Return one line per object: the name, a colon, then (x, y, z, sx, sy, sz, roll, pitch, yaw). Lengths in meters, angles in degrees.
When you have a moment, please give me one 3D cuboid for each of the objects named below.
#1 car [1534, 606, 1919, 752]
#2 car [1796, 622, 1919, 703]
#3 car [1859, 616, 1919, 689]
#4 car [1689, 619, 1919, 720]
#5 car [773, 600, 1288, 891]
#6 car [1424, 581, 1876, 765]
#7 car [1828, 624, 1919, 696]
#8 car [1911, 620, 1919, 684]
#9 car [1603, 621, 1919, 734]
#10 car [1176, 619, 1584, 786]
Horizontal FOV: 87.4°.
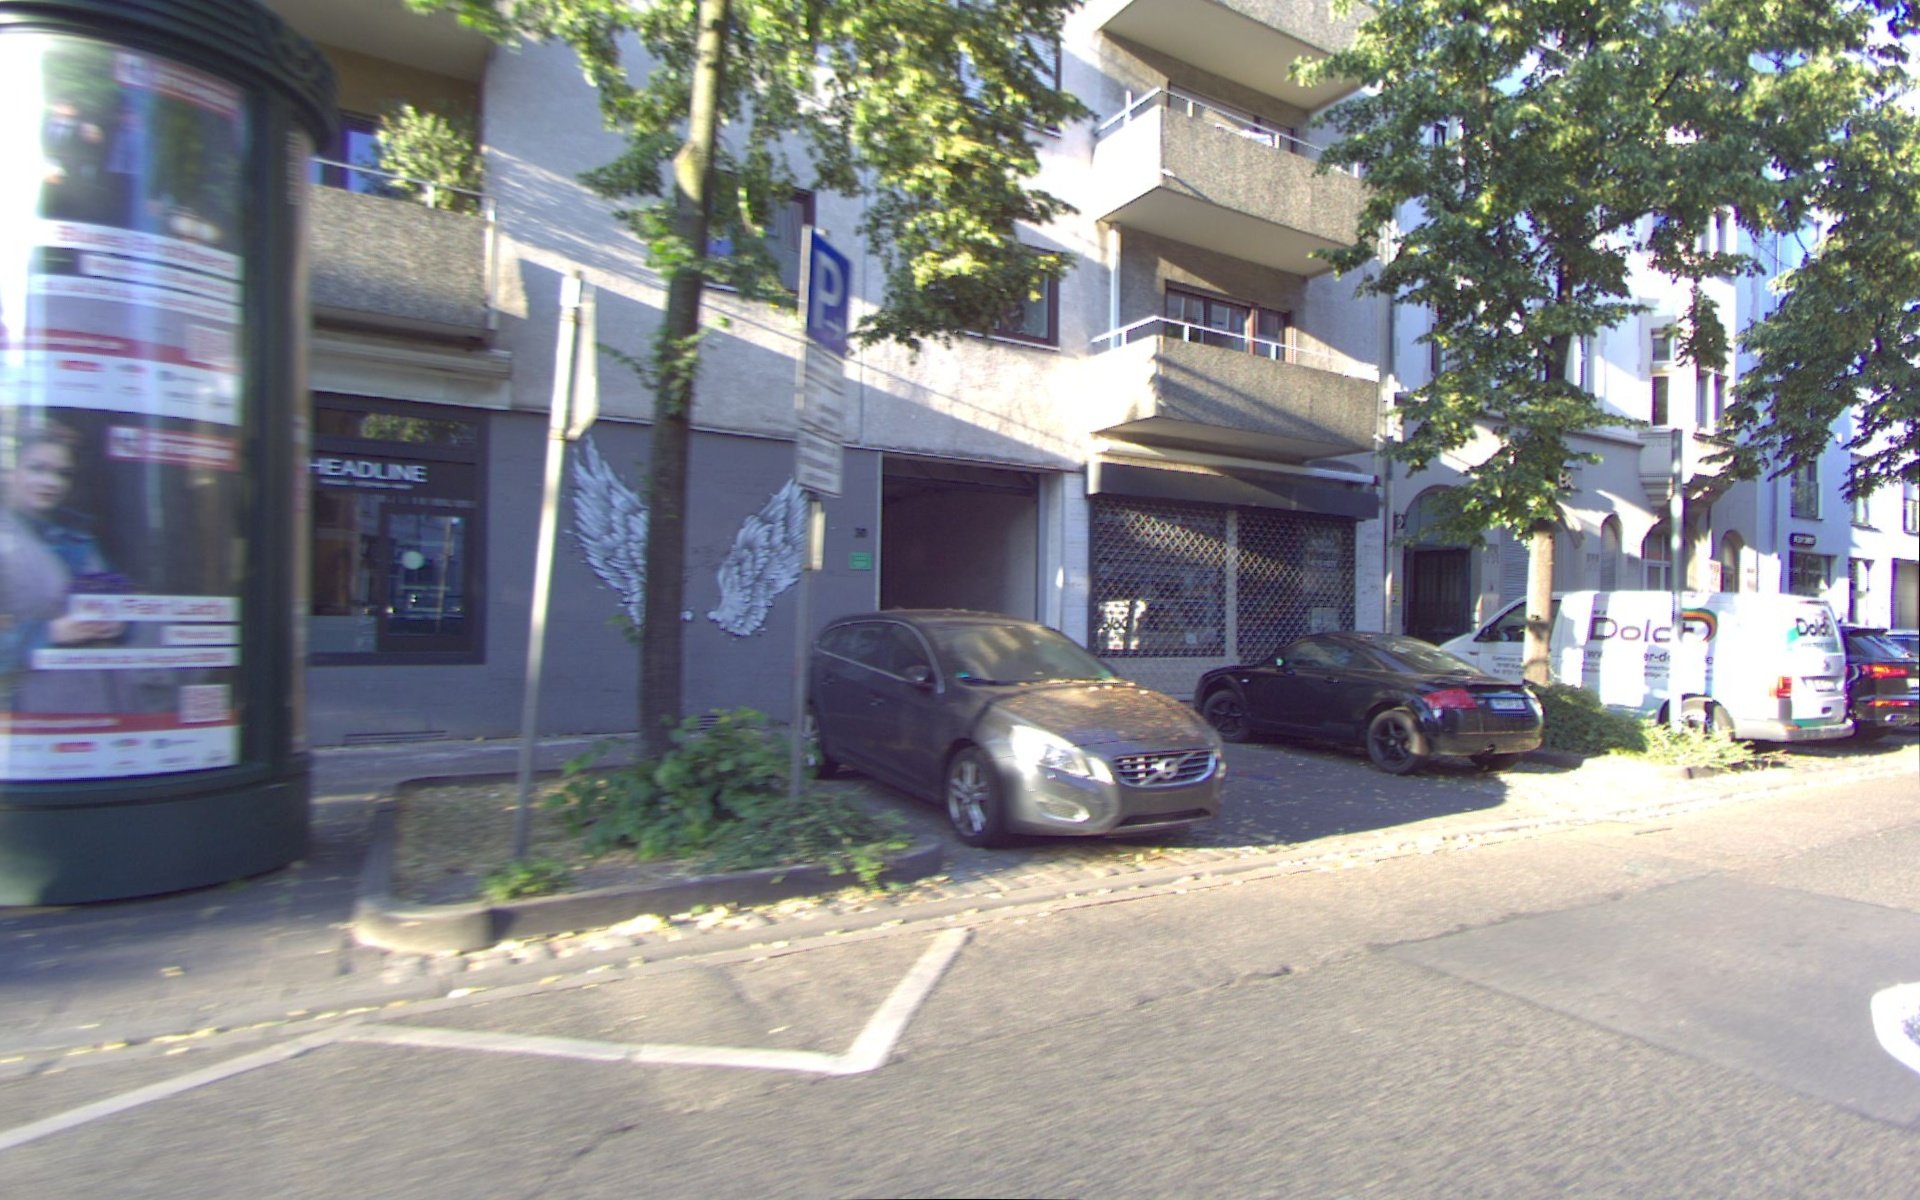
car: (11.203, 0.990, 14.619, 2.035, 1.720, 4.551, 2, 0, -29)
car: (19.351, 1.243, 19.532, 1.787, 1.504, 4.423, 2, 0, -29)
car: (23.394, 1.243, 22.556, 1.837, 1.660, 4.423, 2, 0, -29)
car: (15.473, 1.154, 17.265, 1.822, 1.526, 4.423, 2, -1, -29)
car: (0.172, 0.820, 7.908, 1.790, 1.562, 4.524, 2, 0, -30)
car: (8.854, 0.804, 13.368, 1.967, 1.988, 4.550, 2, 0, -30)
car: (21.206, 1.300, 20.883, 1.837, 1.478, 4.423, 2, 0, -29)
car: (25.504, 1.321, 23.467, 1.896, 1.589, 4.423, 2, 0, -29)
car: (13.225, 1.148, 16.286, 1.758, 1.487, 4.423, 2, 0, -29)
car: (4.419, 0.990, 11.166, 2.017, 1.410, 3.778, 3, -1, -26)
